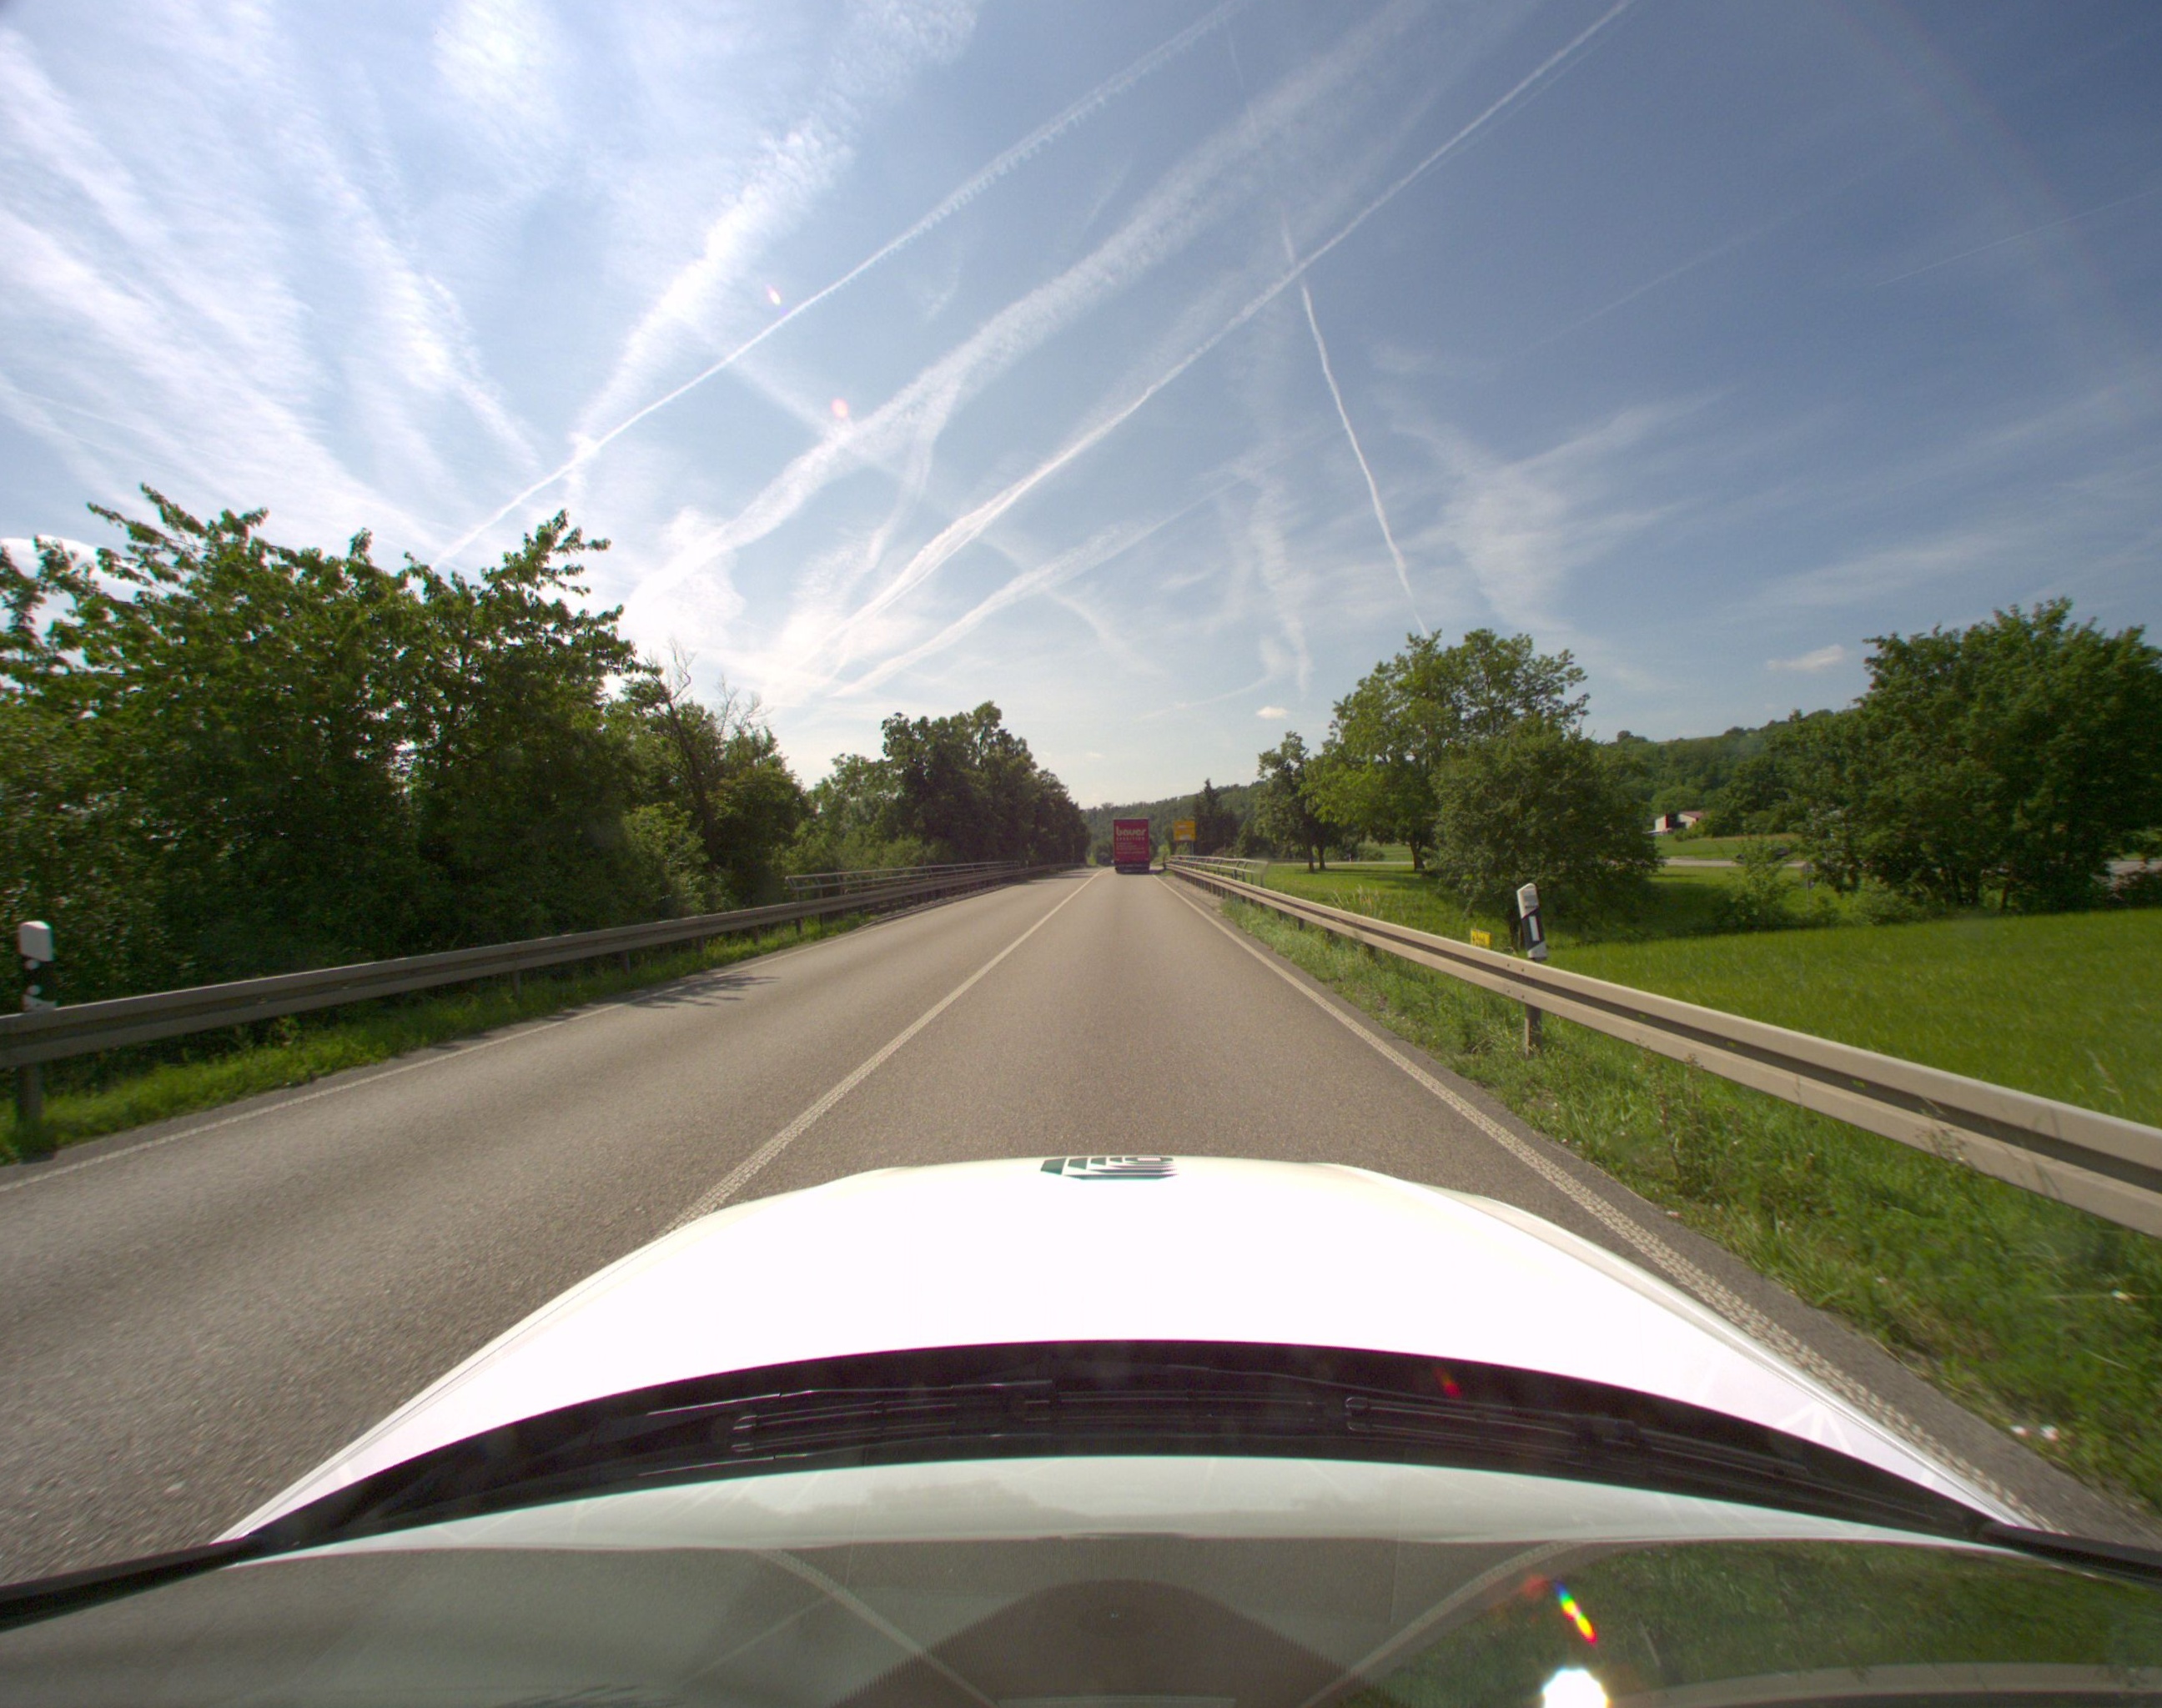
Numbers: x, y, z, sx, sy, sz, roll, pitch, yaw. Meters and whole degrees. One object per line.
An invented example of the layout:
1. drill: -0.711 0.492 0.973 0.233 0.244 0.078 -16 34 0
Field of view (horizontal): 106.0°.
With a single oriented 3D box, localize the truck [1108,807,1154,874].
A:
1. truck: 3.974 -0.993 64.073 3.158 4.625 13.558 -2 0 4
